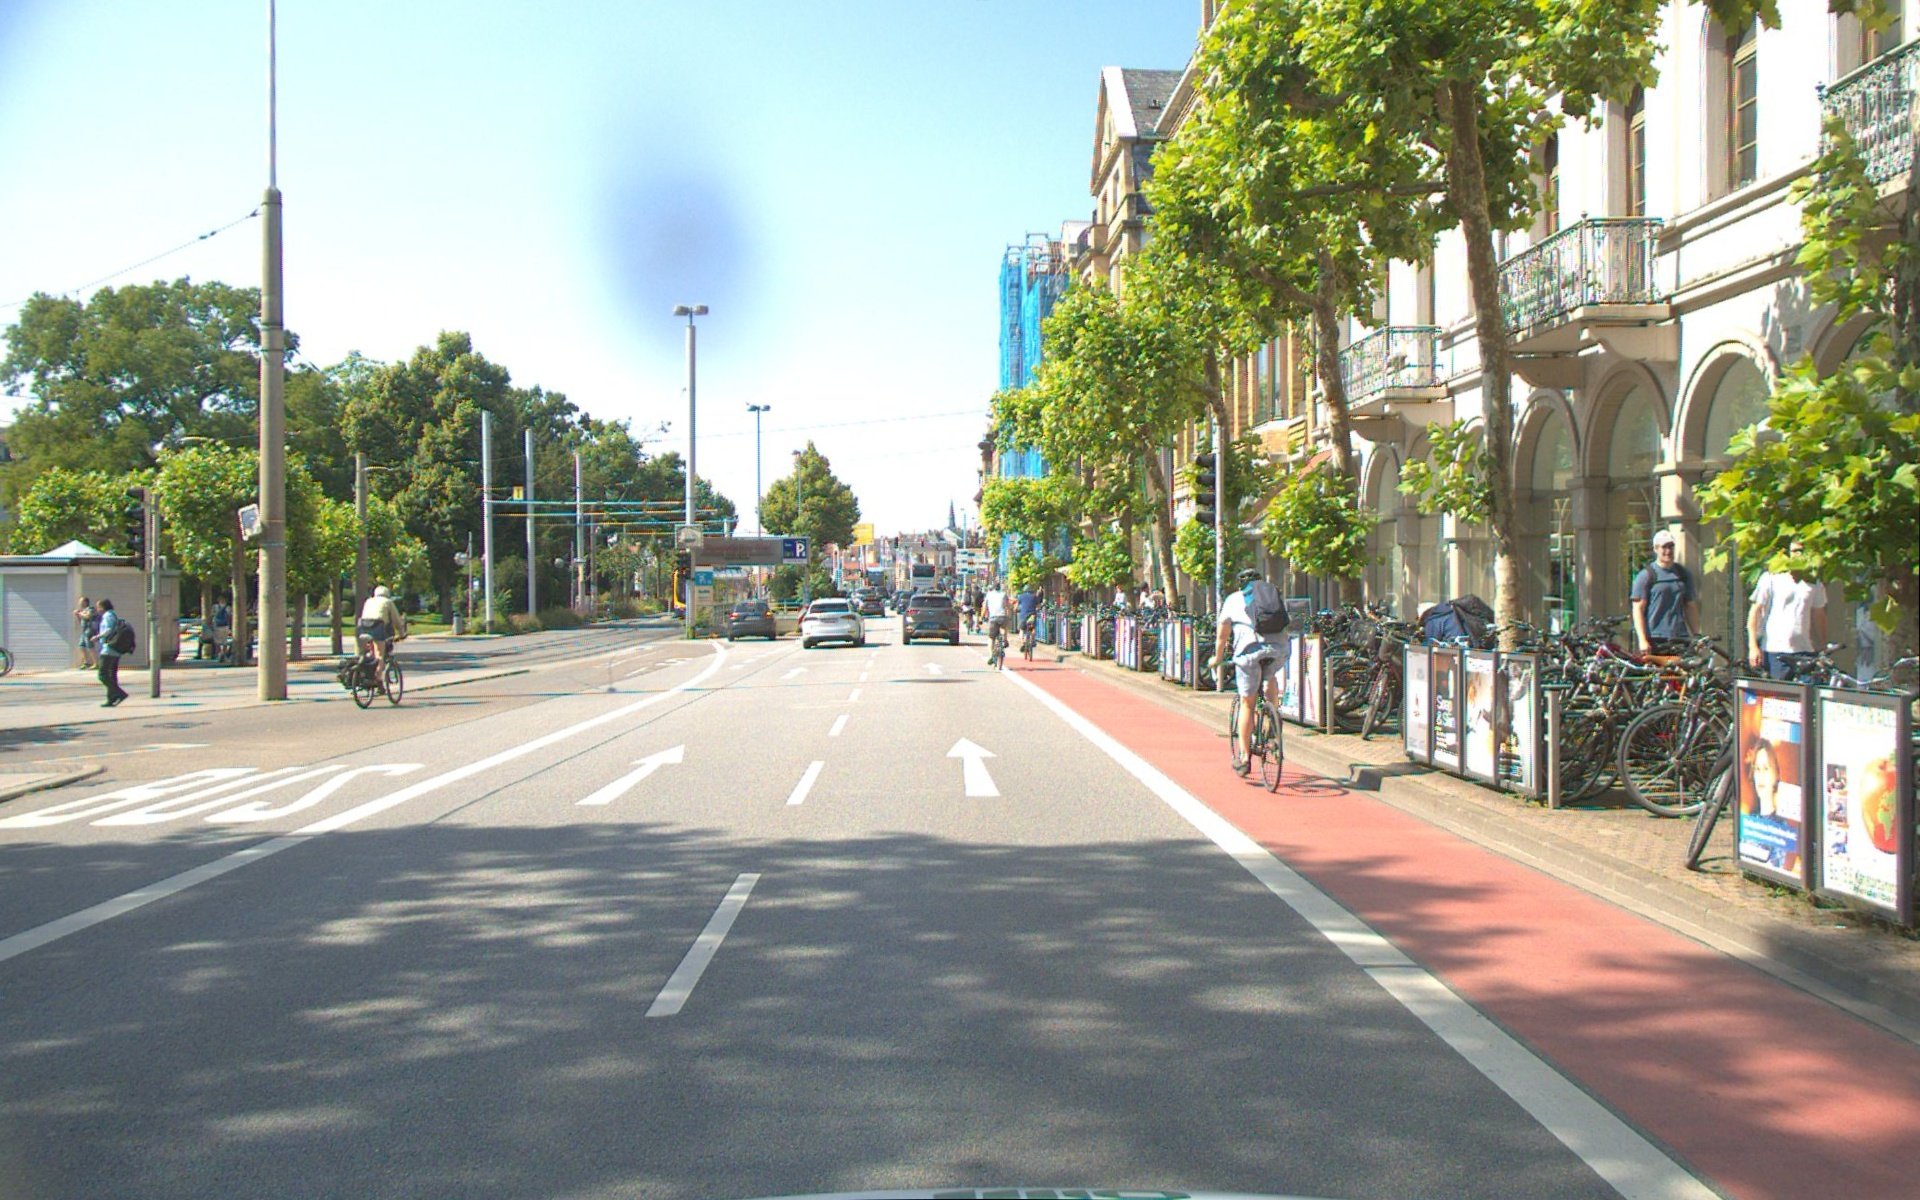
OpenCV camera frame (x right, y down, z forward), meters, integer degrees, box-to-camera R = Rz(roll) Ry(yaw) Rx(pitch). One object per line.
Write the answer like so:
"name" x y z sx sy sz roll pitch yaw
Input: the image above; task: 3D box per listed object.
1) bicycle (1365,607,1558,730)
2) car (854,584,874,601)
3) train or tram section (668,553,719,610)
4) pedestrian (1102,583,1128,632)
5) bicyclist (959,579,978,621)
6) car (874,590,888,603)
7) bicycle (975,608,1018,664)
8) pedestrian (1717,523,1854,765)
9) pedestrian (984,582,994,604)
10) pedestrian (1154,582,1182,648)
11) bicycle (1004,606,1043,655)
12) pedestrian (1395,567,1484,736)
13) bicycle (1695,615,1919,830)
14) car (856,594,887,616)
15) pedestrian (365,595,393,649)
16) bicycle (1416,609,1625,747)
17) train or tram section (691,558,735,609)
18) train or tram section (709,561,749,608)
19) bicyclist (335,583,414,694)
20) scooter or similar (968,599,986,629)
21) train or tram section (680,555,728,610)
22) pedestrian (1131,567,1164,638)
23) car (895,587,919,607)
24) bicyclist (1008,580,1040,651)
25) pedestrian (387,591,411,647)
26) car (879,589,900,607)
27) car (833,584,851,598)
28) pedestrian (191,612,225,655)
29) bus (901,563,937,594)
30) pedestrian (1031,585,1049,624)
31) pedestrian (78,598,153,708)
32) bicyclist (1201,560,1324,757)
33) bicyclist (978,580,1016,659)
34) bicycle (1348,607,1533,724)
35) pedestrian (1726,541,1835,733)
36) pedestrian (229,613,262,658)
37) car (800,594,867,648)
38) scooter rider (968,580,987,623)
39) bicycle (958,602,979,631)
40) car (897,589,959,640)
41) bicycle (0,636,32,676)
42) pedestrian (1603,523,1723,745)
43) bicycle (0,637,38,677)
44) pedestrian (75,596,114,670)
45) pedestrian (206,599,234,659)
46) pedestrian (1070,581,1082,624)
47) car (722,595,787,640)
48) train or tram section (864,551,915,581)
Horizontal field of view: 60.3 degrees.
"bicycle" 4.889 0.657 16.168 1.718 1.167 0.592 0 0 -5
"car" -7.816 -0.606 134.967 1.422 1.323 3.999 1 0 -1
"train or tram section" -17.667 -1.187 110.009 2.561 3.643 6.100 1 0 -3
"pedestrian" 5.304 0.254 56.497 0.590 1.654 0.640 -3 0 -21
"bicyclist" 0.333 0.005 65.014 0.675 1.604 1.049 1 0 -4
"car" -8.345 -0.412 174.892 1.423 1.323 3.340 1 0 -3
"bicycle" 0.748 0.742 34.655 0.719 1.112 1.896 1 0 -4
"pedestrian" 6.448 0.335 12.954 0.621 1.824 0.776 1 0 -4
"pedestrian" 2.164 -0.515 124.717 0.641 1.649 0.815 -1 1 -4
"pedestrian" 5.817 0.427 46.228 0.654 1.812 0.985 -1 0 2
"bicycle" 1.518 0.717 39.618 0.719 1.112 1.910 1 0 -4
"pedestrian" 4.559 0.480 15.756 0.592 1.565 0.666 1 0 -4
"bicycle" 5.166 0.671 9.413 1.718 1.167 0.598 0 0 -5
"car" -5.600 0.316 104.771 1.779 1.355 3.999 1 0 -1
"pedestrian" -18.412 0.693 52.423 0.513 1.637 0.627 -3 1 7
"bicycle" 4.895 0.669 14.489 1.669 1.167 0.519 0 0 -5
"train or tram section" -18.185 -1.207 121.816 2.561 3.643 5.354 1 0 -3
"train or tram section" -18.746 -1.230 134.355 2.561 3.643 6.014 1 0 -3
"bicyclist" -8.956 0.574 25.339 0.800 1.650 0.903 -1 1 5
"scooter or similar" 0.693 0.581 67.881 0.674 1.188 1.463 1 0 -2
"train or tram section" -17.934 -1.197 116.101 2.561 3.643 6.100 1 0 -3
"pedestrian" 4.482 0.058 39.568 0.639 1.662 0.730 1 0 -5
"car" -3.563 -0.191 110.755 1.423 1.323 3.339 1 0 -4
"bicyclist" 1.525 0.365 39.488 0.674 1.644 0.918 1 0 -2
"pedestrian" -17.777 0.602 52.417 0.520 1.763 0.581 -3 1 -32
"car" -5.249 -0.168 123.488 1.423 1.323 3.339 1 0 -4
"car" -10.852 -0.821 152.401 1.422 1.323 3.999 1 0 -1
"pedestrian" -22.285 0.986 49.020 0.662 1.191 0.751 -3 1 -8
"bus" -3.891 -1.980 155.989 2.911 2.825 8.633 1 0 -4
"pedestrian" 3.921 0.227 80.804 0.797 1.881 0.892 -2 -1 5
"pedestrian" -13.264 0.813 25.984 0.876 1.687 0.678 -1 0 -12
"bicyclist" 2.385 0.445 13.148 0.675 1.488 1.142 1 0 -4
"bicyclist" 0.765 0.390 34.462 0.675 1.604 1.049 1 0 -4
"bicycle" 4.886 0.654 16.865 1.718 1.167 0.592 0 0 -5
"pedestrian" 7.607 0.338 15.355 0.643 1.726 0.676 1 0 -1
"pedestrian" -21.041 1.027 48.710 0.662 1.268 0.751 -3 1 -8
"car" -3.846 0.617 50.838 1.821 1.533 3.999 1 0 -1
"scooter rider" 0.720 0.051 67.921 0.674 1.759 0.778 1 0 -2
"bicycle" 0.324 0.635 64.931 0.719 1.112 1.897 1 0 -3
"car" -1.012 0.437 52.096 1.836 1.519 3.999 -1 0 -1
"bicycle" -22.200 1.262 37.571 1.834 0.885 0.579 1 0 -16
"pedestrian" 6.338 0.298 14.943 0.687 1.935 0.776 1 0 -4
"bicycle" -22.365 1.297 38.115 1.834 0.885 0.579 1 0 -16
"pedestrian" -21.346 0.797 40.800 0.741 1.758 0.832 -3 1 -25
"pedestrian" -20.598 0.812 46.051 0.568 1.637 0.597 -3 1 -31
"pedestrian" 4.726 0.101 67.462 0.373 1.712 0.476 -1 0 -5
"car" -7.481 0.614 60.566 1.953 1.534 3.999 1 0 -1
"train or tram section" -9.315 -4.523 219.223 2.765 3.643 10.031 1 0 22
